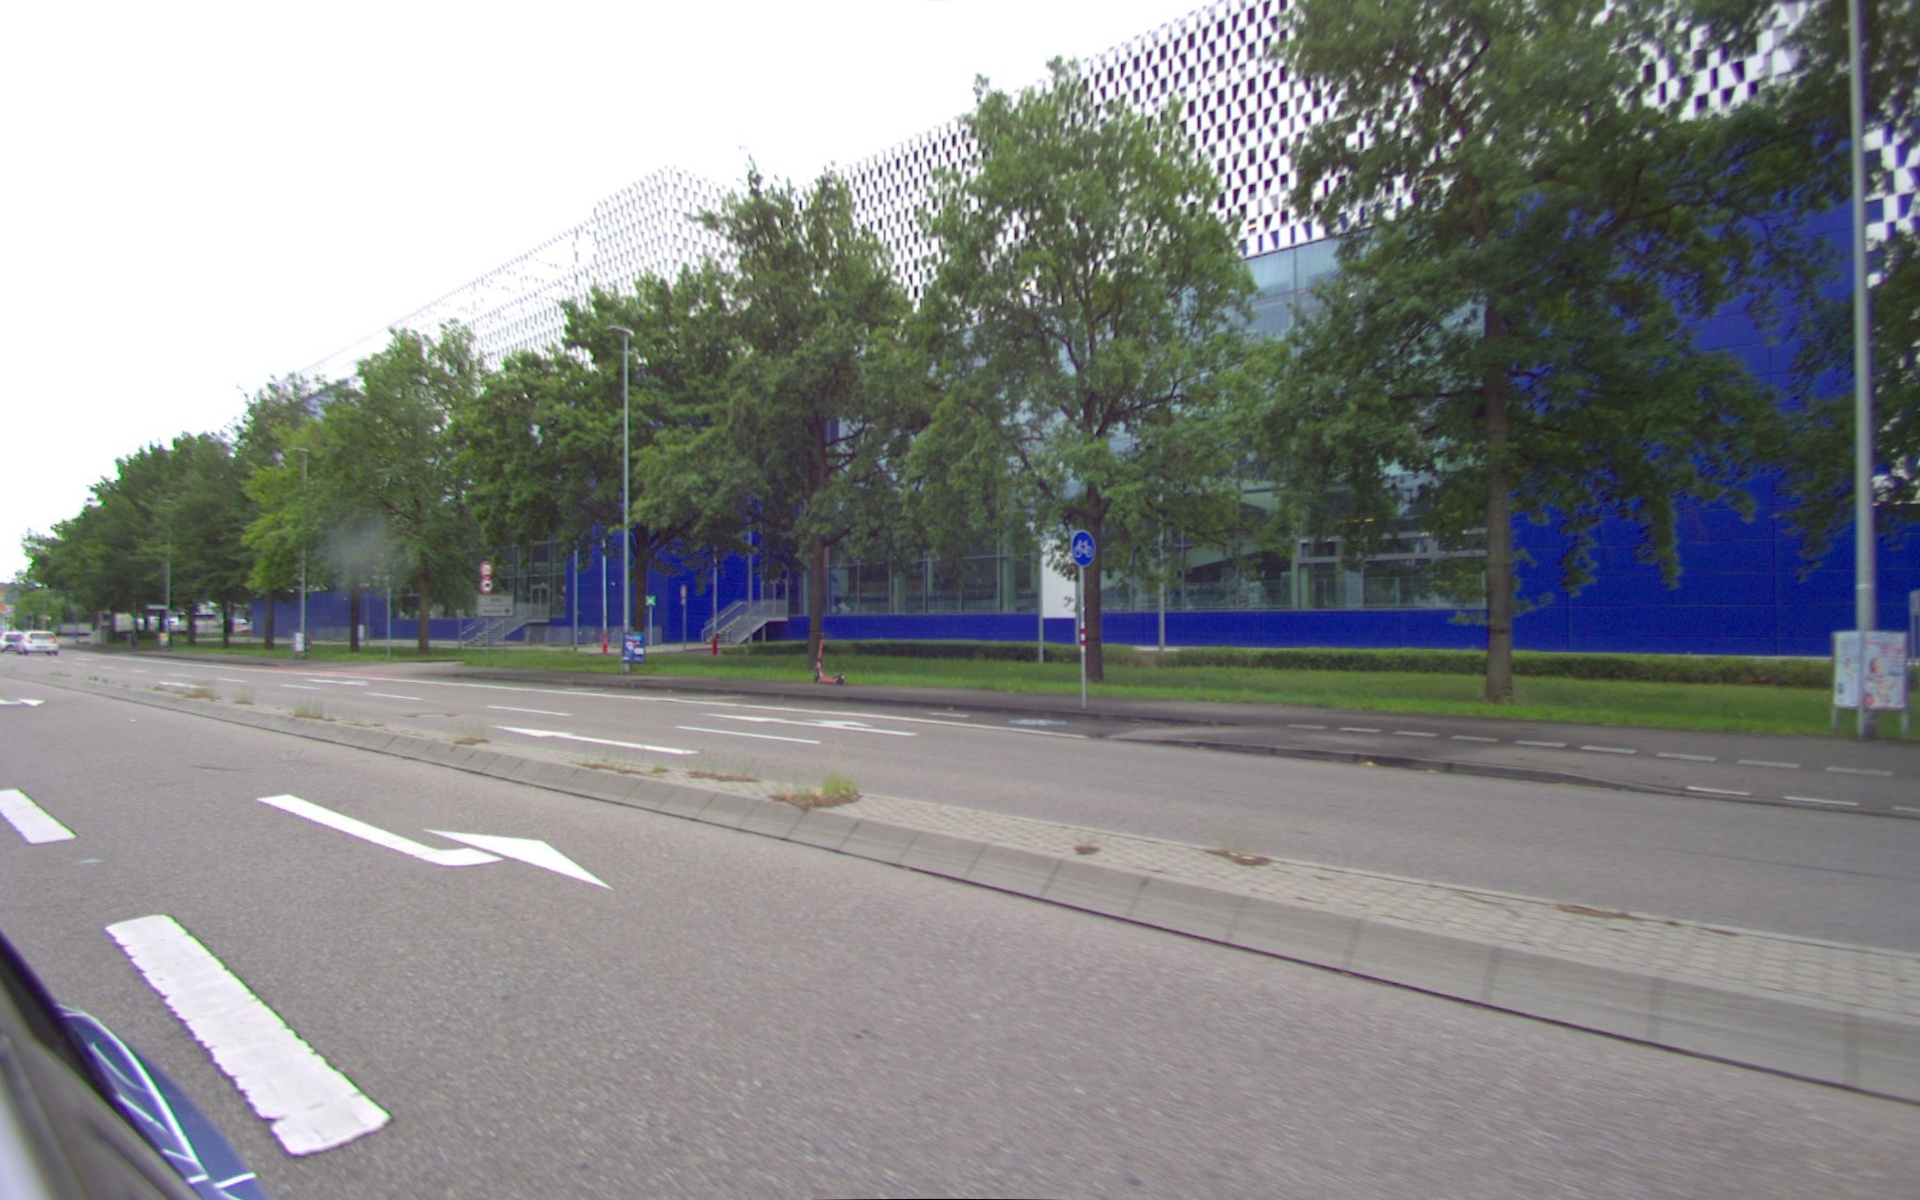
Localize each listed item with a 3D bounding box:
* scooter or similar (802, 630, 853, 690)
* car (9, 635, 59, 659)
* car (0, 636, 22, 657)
[{"bbox_3d":[-3.094,1.379,23.562,0.441,1.331,1.508,1,-2,-39],"label":"scooter or similar"},{"bbox_3d":[-57.406,2.924,62.711,3.645,1.439,1.660,-2,-4,38],"label":"car"},{"bbox_3d":[-66.066,3.198,69.775,3.609,1.434,1.607,-2,-3,40],"label":"car"}]
